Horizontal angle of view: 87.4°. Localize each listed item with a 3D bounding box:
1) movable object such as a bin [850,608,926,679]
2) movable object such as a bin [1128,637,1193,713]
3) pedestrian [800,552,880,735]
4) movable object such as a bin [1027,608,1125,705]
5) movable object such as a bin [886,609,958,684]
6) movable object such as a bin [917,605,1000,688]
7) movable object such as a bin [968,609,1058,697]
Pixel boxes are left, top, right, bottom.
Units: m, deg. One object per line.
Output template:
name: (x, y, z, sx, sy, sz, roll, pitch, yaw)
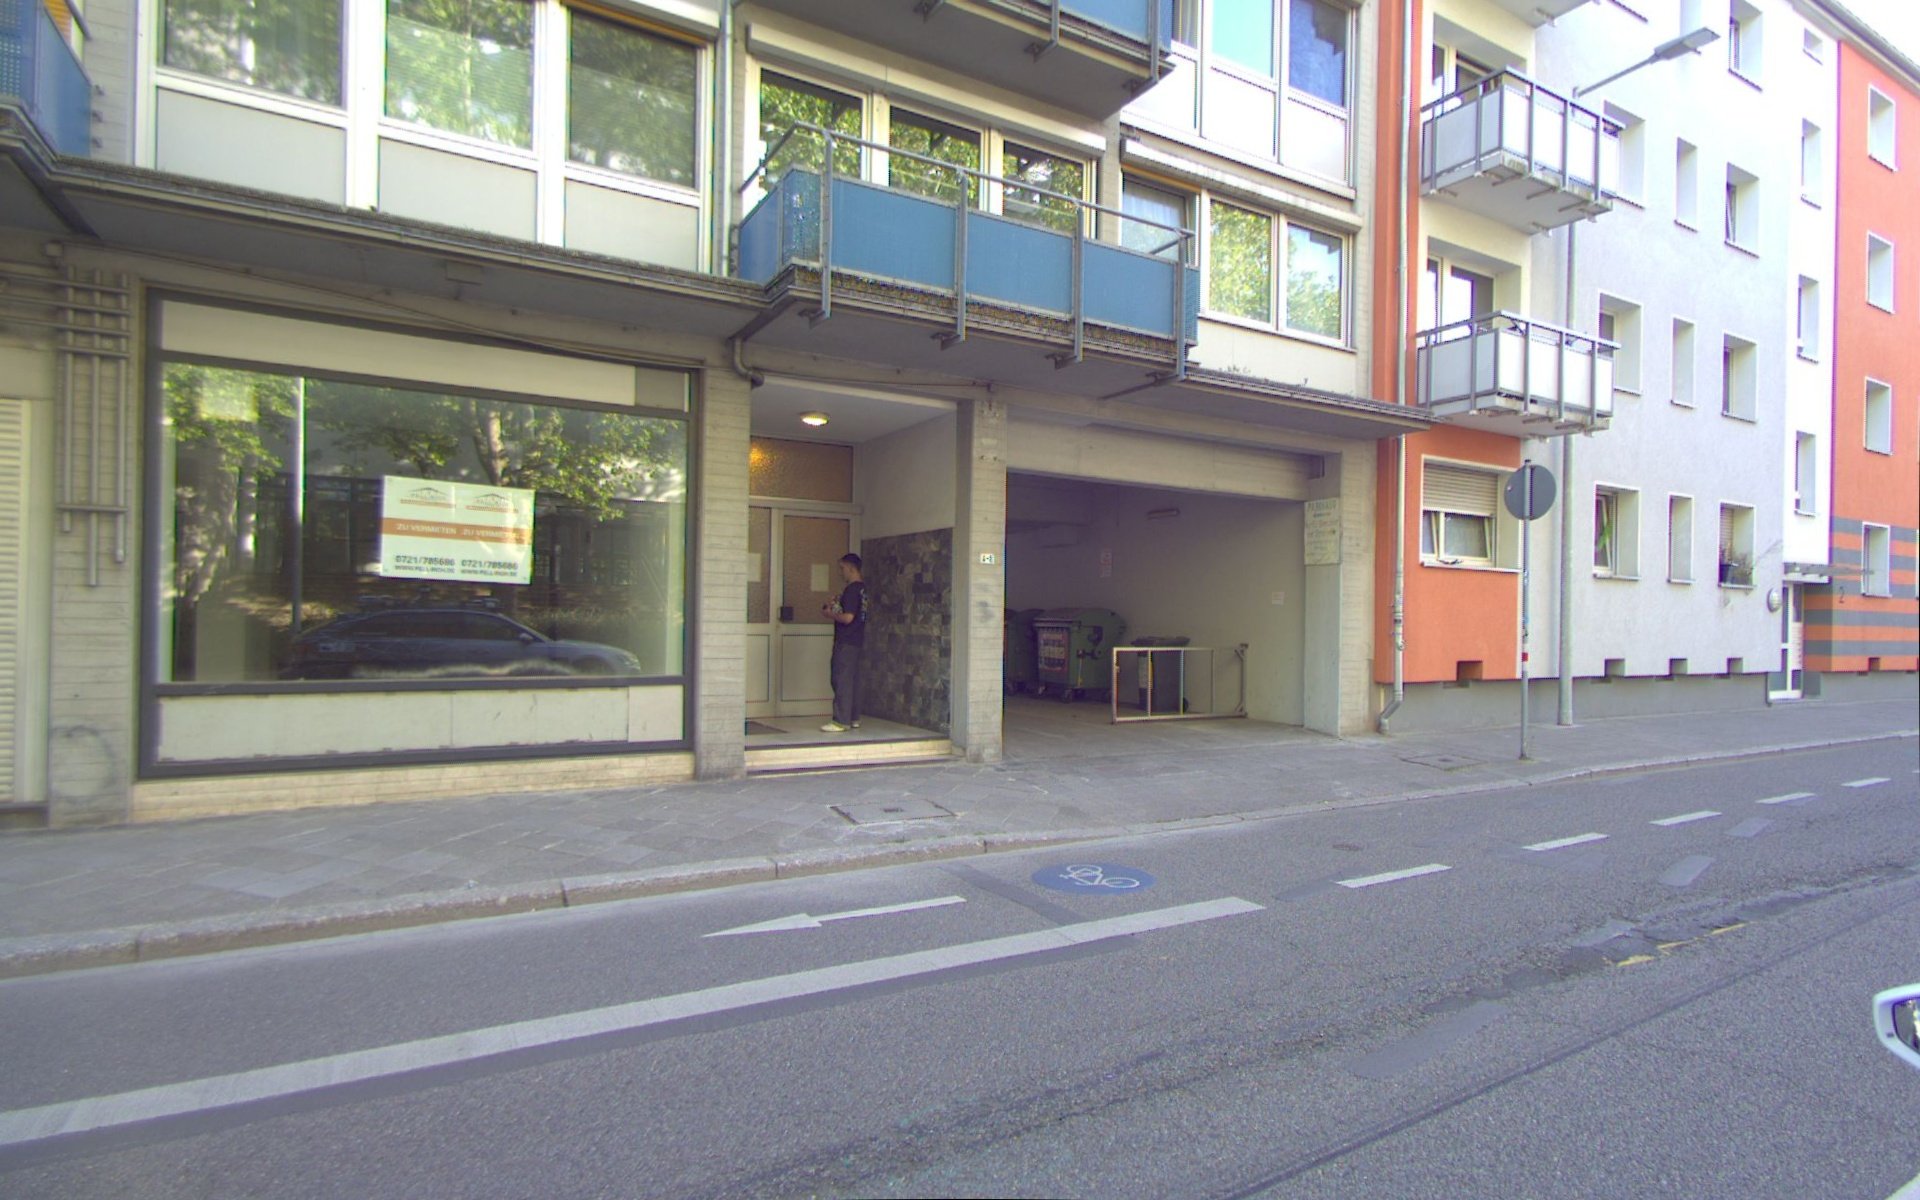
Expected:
movable object such as a bin: (-1.490, 0.873, 20.650, 1.014, 1.409, 1.264, 1, 0, -37)
movable object such as a bin: (2.880, 1.066, 14.467, 0.704, 1.054, 0.583, 1, 0, -30)
pedestrian: (-1.196, 0.417, 10.077, 0.518, 1.764, 0.630, 1, 0, 27)
movable object such as a bin: (1.808, 0.863, 15.812, 1.009, 1.438, 1.321, 1, 0, -23)
movable object such as a bin: (-0.756, 0.898, 19.660, 1.012, 1.409, 1.046, 1, 0, -31)
movable object such as a bin: (-0.039, 0.841, 18.654, 1.011, 1.462, 1.318, 1, 0, -29)
movable object such as a bin: (0.887, 0.874, 17.142, 1.010, 1.409, 1.319, 1, 0, -27)
